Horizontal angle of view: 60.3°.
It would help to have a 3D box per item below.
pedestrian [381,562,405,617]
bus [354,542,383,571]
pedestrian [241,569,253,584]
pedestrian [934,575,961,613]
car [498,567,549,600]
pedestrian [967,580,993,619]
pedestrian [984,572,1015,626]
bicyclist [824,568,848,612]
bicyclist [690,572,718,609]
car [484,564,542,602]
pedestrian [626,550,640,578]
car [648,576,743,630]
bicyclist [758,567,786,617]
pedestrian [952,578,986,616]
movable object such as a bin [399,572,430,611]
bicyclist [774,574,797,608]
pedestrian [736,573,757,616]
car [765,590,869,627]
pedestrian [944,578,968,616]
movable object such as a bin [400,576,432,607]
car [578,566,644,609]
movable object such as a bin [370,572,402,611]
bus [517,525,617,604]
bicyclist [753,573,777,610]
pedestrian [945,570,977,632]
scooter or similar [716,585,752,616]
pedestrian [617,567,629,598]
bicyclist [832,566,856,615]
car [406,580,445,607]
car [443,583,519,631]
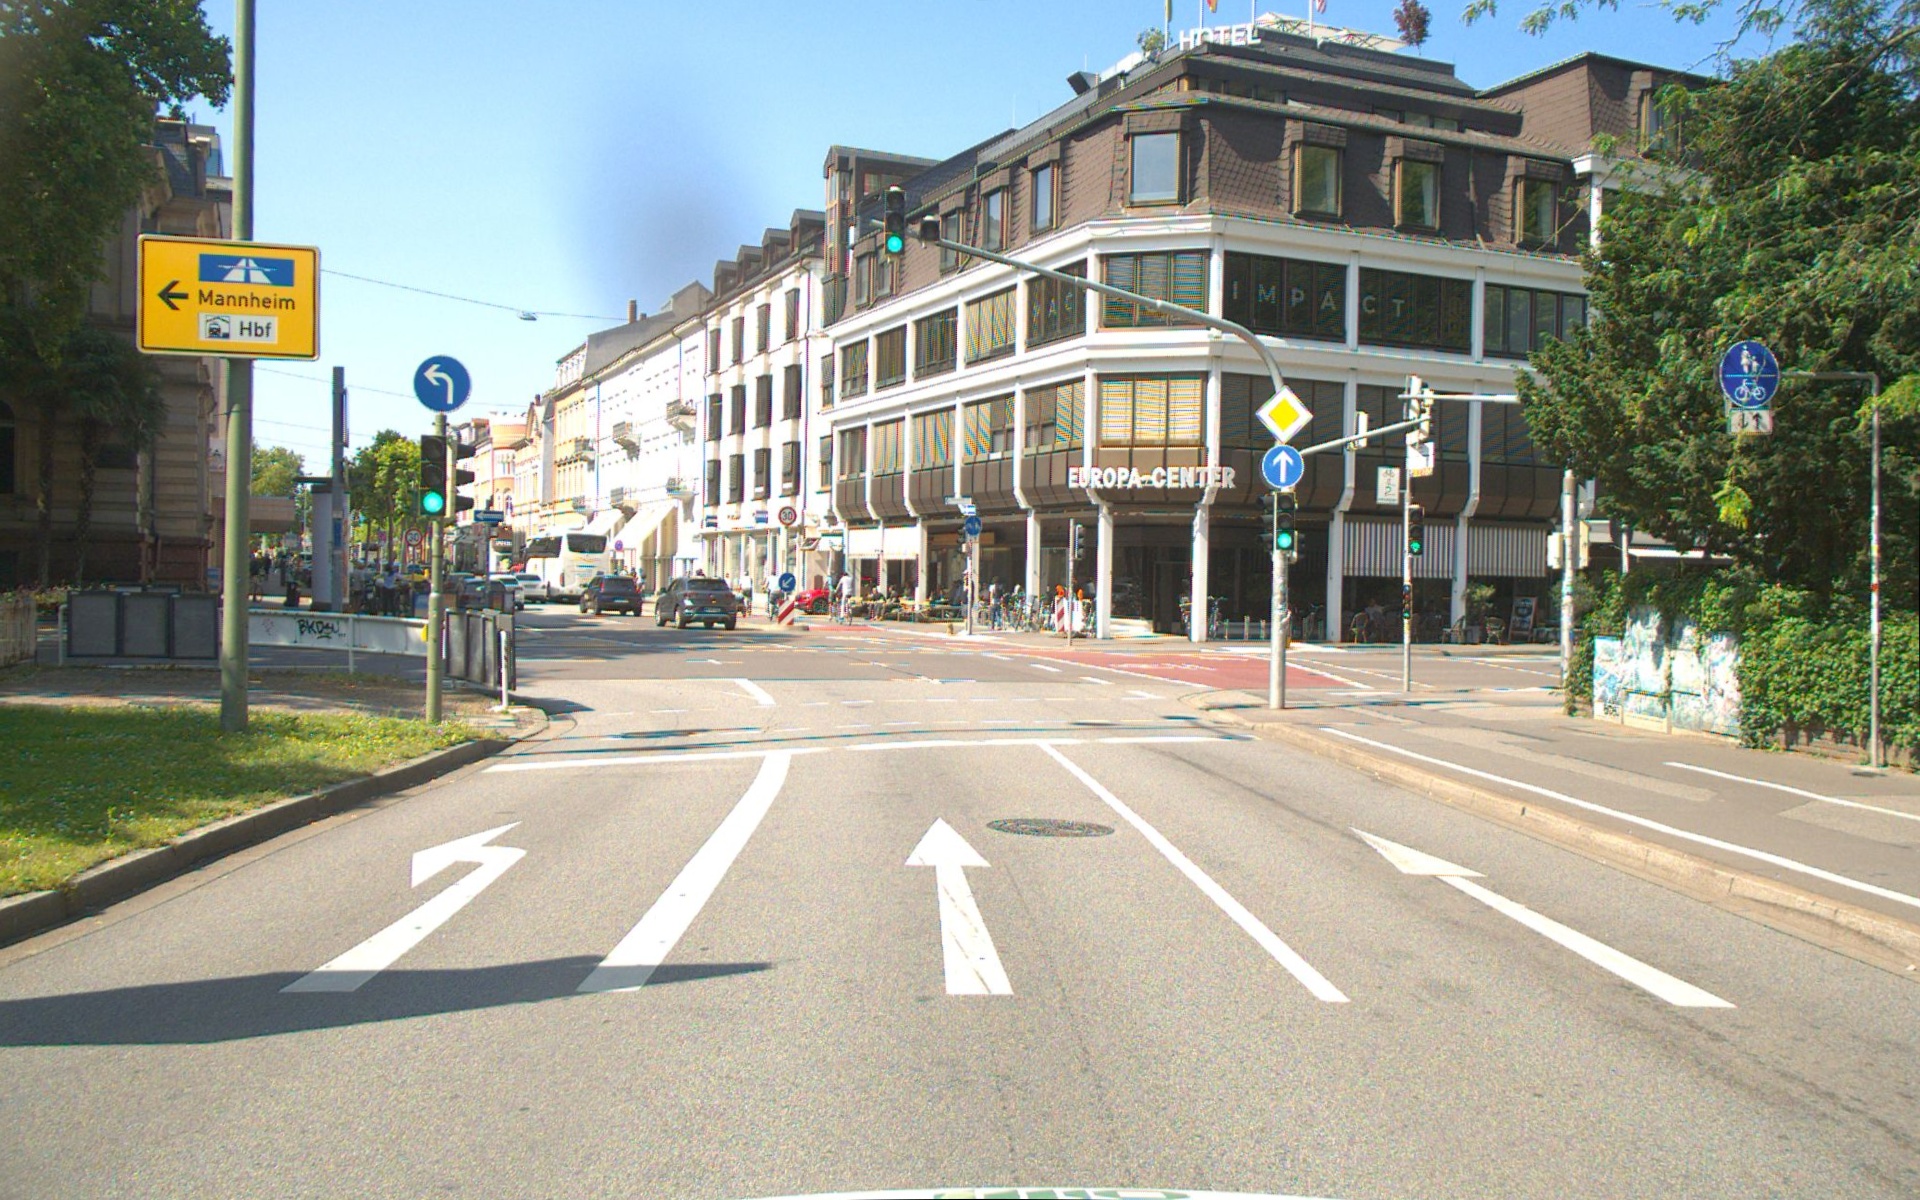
[{"bbox_3d":[-17.789,-0.321,51.855,0.684,1.725,0.686,0,-1,-21],"label":"pedestrian"},{"bbox_3d":[-79.110,-5.814,221.002,2.736,3.667,8.899,0,1,-26],"label":"bus"},{"bbox_3d":[-43.155,-1.430,100.118,0.558,0.823,0.769,6,-1,-23],"label":"pedestrian"},{"bbox_3d":[-0.482,-0.232,62.688,0.803,1.421,0.691,1,0,-25],"label":"pedestrian"},{"bbox_3d":[-21.341,-0.774,80.746,1.809,1.554,3.971,-1,0,-24],"label":"car"},{"bbox_3d":[0.726,-0.016,60.021,0.702,1.421,0.691,0,-1,-24],"label":"pedestrian"},{"bbox_3d":[1.266,-0.028,52.789,0.819,1.692,0.694,0,-1,-15],"label":"pedestrian"},{"bbox_3d":[-4.412,-0.350,58.885,0.611,1.556,0.865,1,0,-19],"label":"bicyclist"},{"bbox_3d":[-11.449,-0.417,73.909,0.969,1.627,1.048,1,0,-24],"label":"bicyclist"},{"bbox_3d":[-18.734,-0.716,69.242,1.838,1.466,3.972,1,1,-23],"label":"car"},{"bbox_3d":[-19.328,-2.147,97.743,0.636,1.645,0.817,0,0,-21],"label":"pedestrian"},{"bbox_3d":[-8.041,0.092,50.020,1.810,1.554,3.968,1,0,-25],"label":"car"},{"bbox_3d":[-6.693,-0.298,58.821,0.685,1.702,0.910,3,1,-22],"label":"bicyclist"},{"bbox_3d":[0.338,-0.101,60.892,0.884,1.374,1.097,0,-1,-24],"label":"pedestrian"},{"bbox_3d":[-22.022,-0.339,66.832,1.106,1.476,1.432,3,1,-18],"label":"movable object such as a bin"},{"bbox_3d":[-6.766,-0.352,64.051,0.612,1.319,0.860,1,0,-25],"label":"bicyclist"},{"bbox_3d":[-8.748,-0.243,67.816,0.611,1.750,0.830,1,0,-22],"label":"pedestrian"},{"bbox_3d":[-5.955,0.357,68.879,3.988,1.521,1.829,0,-1,-22],"label":"car"},{"bbox_3d":[-0.157,-0.114,61.916,0.702,1.421,0.691,0,-1,-24],"label":"pedestrian"},{"bbox_3d":[-24.083,-0.366,73.217,1.260,1.322,0.847,1,0,-24],"label":"movable object such as a bin"},{"bbox_3d":[-13.296,-0.453,62.893,1.807,1.554,3.973,-1,0,-22],"label":"car"},{"bbox_3d":[-23.077,-0.344,66.481,1.106,1.476,1.432,3,1,-18],"label":"movable object such as a bin"},{"bbox_3d":[-21.134,-1.902,88.272,2.844,3.807,12.334,3,0,-24],"label":"bus"},{"bbox_3d":[-7.265,-0.318,61.639,0.612,1.378,0.840,1,0,-25],"label":"bicyclist"},{"bbox_3d":[0.037,0.041,50.018,0.819,1.868,0.694,0,0,-15],"label":"pedestrian"},{"bbox_3d":[-8.870,0.015,64.932,0.950,1.155,1.573,1,0,-26],"label":"scooter or similar"},{"bbox_3d":[-19.663,-1.007,96.500,0.565,1.809,1.014,1,-1,-20],"label":"pedestrian"},{"bbox_3d":[-3.910,-0.317,55.708,0.683,1.654,0.832,0,1,-15],"label":"bicyclist"},{"bbox_3d":[-31.668,-0.368,97.976,1.838,1.466,3.970,1,-1,-24],"label":"car"},{"bbox_3d":[-15.184,0.204,52.285,1.909,1.378,4.222,0,1,-22],"label":"car"}]
